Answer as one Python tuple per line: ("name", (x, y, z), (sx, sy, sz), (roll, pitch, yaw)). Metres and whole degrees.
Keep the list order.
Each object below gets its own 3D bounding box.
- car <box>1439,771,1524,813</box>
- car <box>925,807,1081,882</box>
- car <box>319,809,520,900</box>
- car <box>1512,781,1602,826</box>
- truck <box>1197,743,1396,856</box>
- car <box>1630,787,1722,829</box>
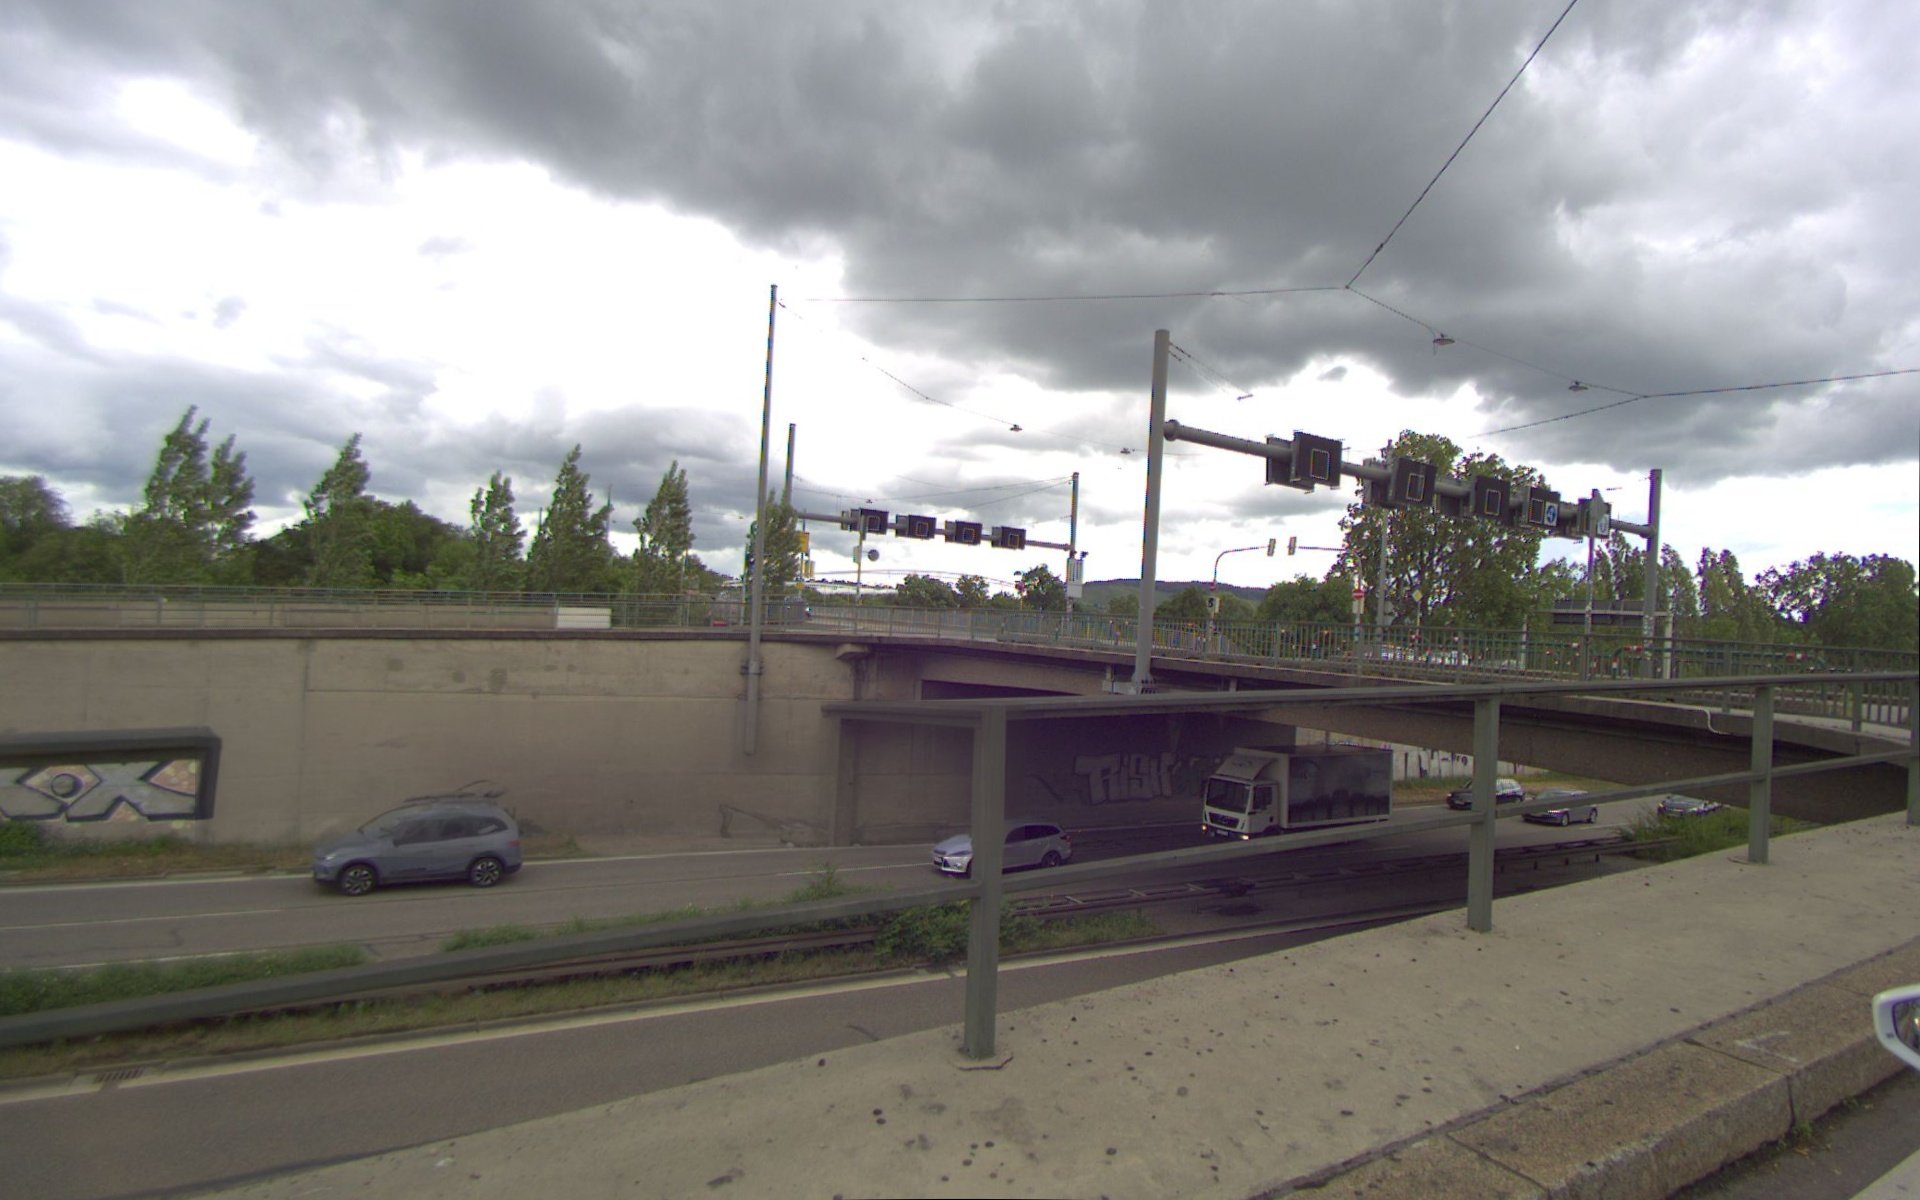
("car", (25.770, 9.441, 49.561), (4.252, 1.632, 1.812), (4, -3, -32))
("car", (1.322, 7.253, 30.042), (4.444, 1.632, 1.671), (4, -3, -32))
("car", (-13.396, 6.263, 25.064), (4.206, 1.691, 1.703), (5, -3, -30))
("car", (27.425, 9.308, 46.129), (4.252, 1.632, 1.812), (5, -3, -32))
("truck", (12.596, 7.202, 37.260), (8.046, 3.506, 2.499), (5, -3, -33))
("car", (33.403, 9.647, 46.856), (4.518, 1.512, 1.831), (4, -4, -30))
